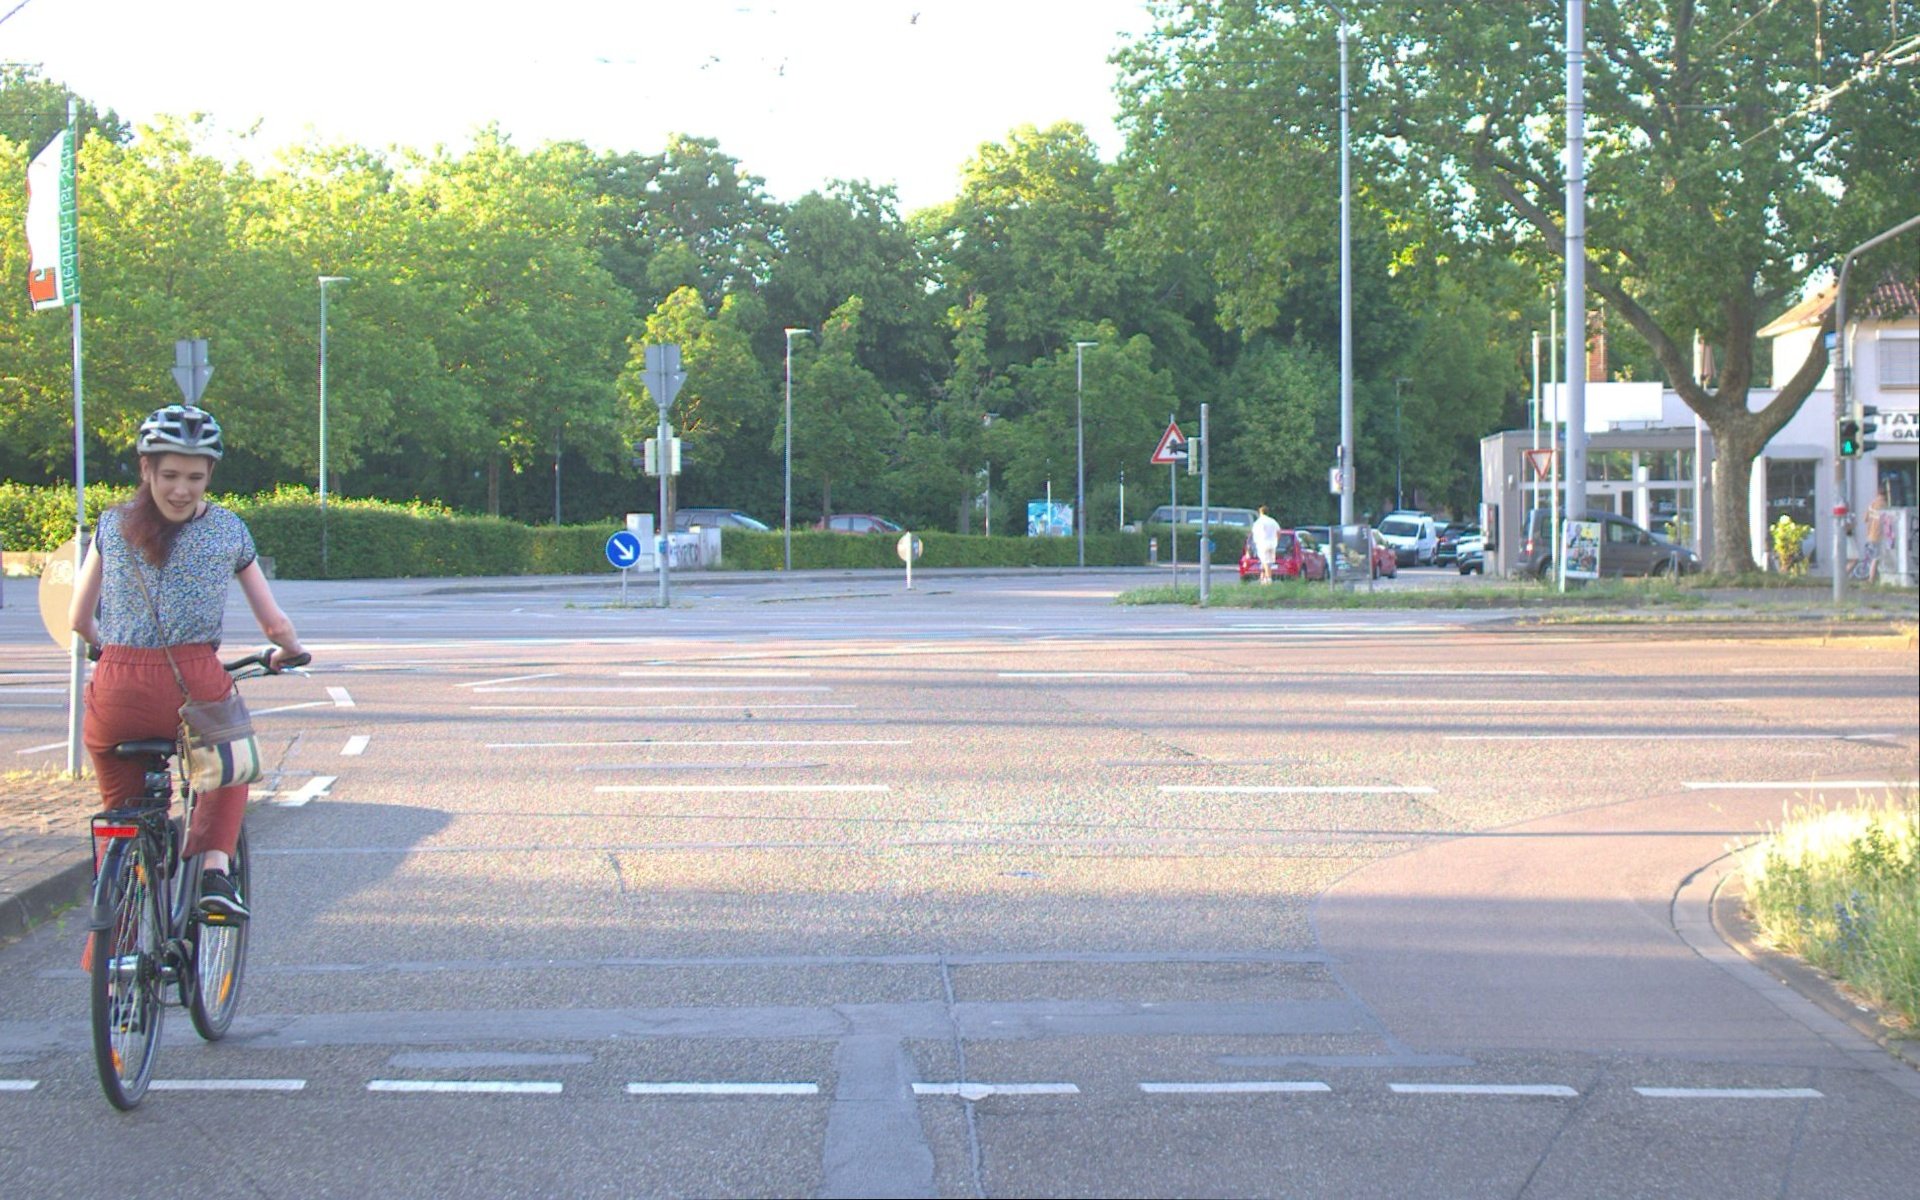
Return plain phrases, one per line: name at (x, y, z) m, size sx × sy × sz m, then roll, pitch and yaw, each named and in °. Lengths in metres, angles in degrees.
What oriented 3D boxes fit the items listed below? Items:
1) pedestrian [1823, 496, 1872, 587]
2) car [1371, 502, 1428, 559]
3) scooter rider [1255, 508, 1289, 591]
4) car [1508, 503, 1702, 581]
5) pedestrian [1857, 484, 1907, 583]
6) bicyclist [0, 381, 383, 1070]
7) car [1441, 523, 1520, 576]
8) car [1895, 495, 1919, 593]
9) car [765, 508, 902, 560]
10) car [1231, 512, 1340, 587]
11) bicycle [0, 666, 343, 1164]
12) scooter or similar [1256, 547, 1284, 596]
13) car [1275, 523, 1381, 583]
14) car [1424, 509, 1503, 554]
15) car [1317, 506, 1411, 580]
pedestrian at (16.118, -1.072, 62.456) m, size 0.719 × 1.633 × 0.896 m, roll 0°, pitch 1°, yaw 24°
car at (15.886, -2.523, 124.420) m, size 1.994 × 2.007 × 3.999 m, roll 0°, pitch 2°, yaw 6°
scooter rider at (7.017, -1.134, 77.374) m, size 0.702 × 1.848 × 0.669 m, roll 0°, pitch 0°, yaw -1°
car at (15.389, -1.399, 82.209) m, size 4.377 × 1.828 × 1.949 m, roll 0°, pitch 1°, yaw 5°
pedestrian at (16.383, -1.186, 61.097) m, size 0.719 × 1.748 × 0.896 m, roll 0°, pitch 1°, yaw 24°
bicyclist at (-2.114, 0.301, 9.045) m, size 1.031 × 1.712 × 0.996 m, roll 0°, pitch 1°, yaw -1°
car at (16.449, -1.607, 108.541) m, size 1.916 × 1.597 × 3.997 m, roll 0°, pitch 2°, yaw 17°
car at (20.264, -1.085, 65.738) m, size 4.230 × 1.840 × 2.000 m, roll 0°, pitch 1°, yaw 2°
car at (-3.759, -1.978, 102.701) m, size 3.987 × 1.555 × 2.000 m, roll 0°, pitch 1°, yaw 1°
car at (8.436, -1.331, 88.902) m, size 1.870 × 1.868 × 3.870 m, roll 1°, pitch 2°, yaw 20°
bicycle at (-2.121, 0.753, 9.056) m, size 0.634 × 1.064 × 2.122 m, roll 0°, pitch 1°, yaw -1°
scooter or similar at (6.983, -0.651, 77.411) m, size 0.510 × 1.086 × 1.243 m, roll 0°, pitch 1°, yaw -1°
car at (9.955, -1.286, 92.728) m, size 1.995 × 1.568 × 3.996 m, roll 1°, pitch 2°, yaw 19°
car at (17.882, -2.408, 122.001) m, size 1.757 × 1.535 × 4.395 m, roll 0°, pitch 0°, yaw 23°
car at (11.362, -1.624, 96.546) m, size 1.916 × 2.040 × 3.997 m, roll 0°, pitch 2°, yaw 17°
